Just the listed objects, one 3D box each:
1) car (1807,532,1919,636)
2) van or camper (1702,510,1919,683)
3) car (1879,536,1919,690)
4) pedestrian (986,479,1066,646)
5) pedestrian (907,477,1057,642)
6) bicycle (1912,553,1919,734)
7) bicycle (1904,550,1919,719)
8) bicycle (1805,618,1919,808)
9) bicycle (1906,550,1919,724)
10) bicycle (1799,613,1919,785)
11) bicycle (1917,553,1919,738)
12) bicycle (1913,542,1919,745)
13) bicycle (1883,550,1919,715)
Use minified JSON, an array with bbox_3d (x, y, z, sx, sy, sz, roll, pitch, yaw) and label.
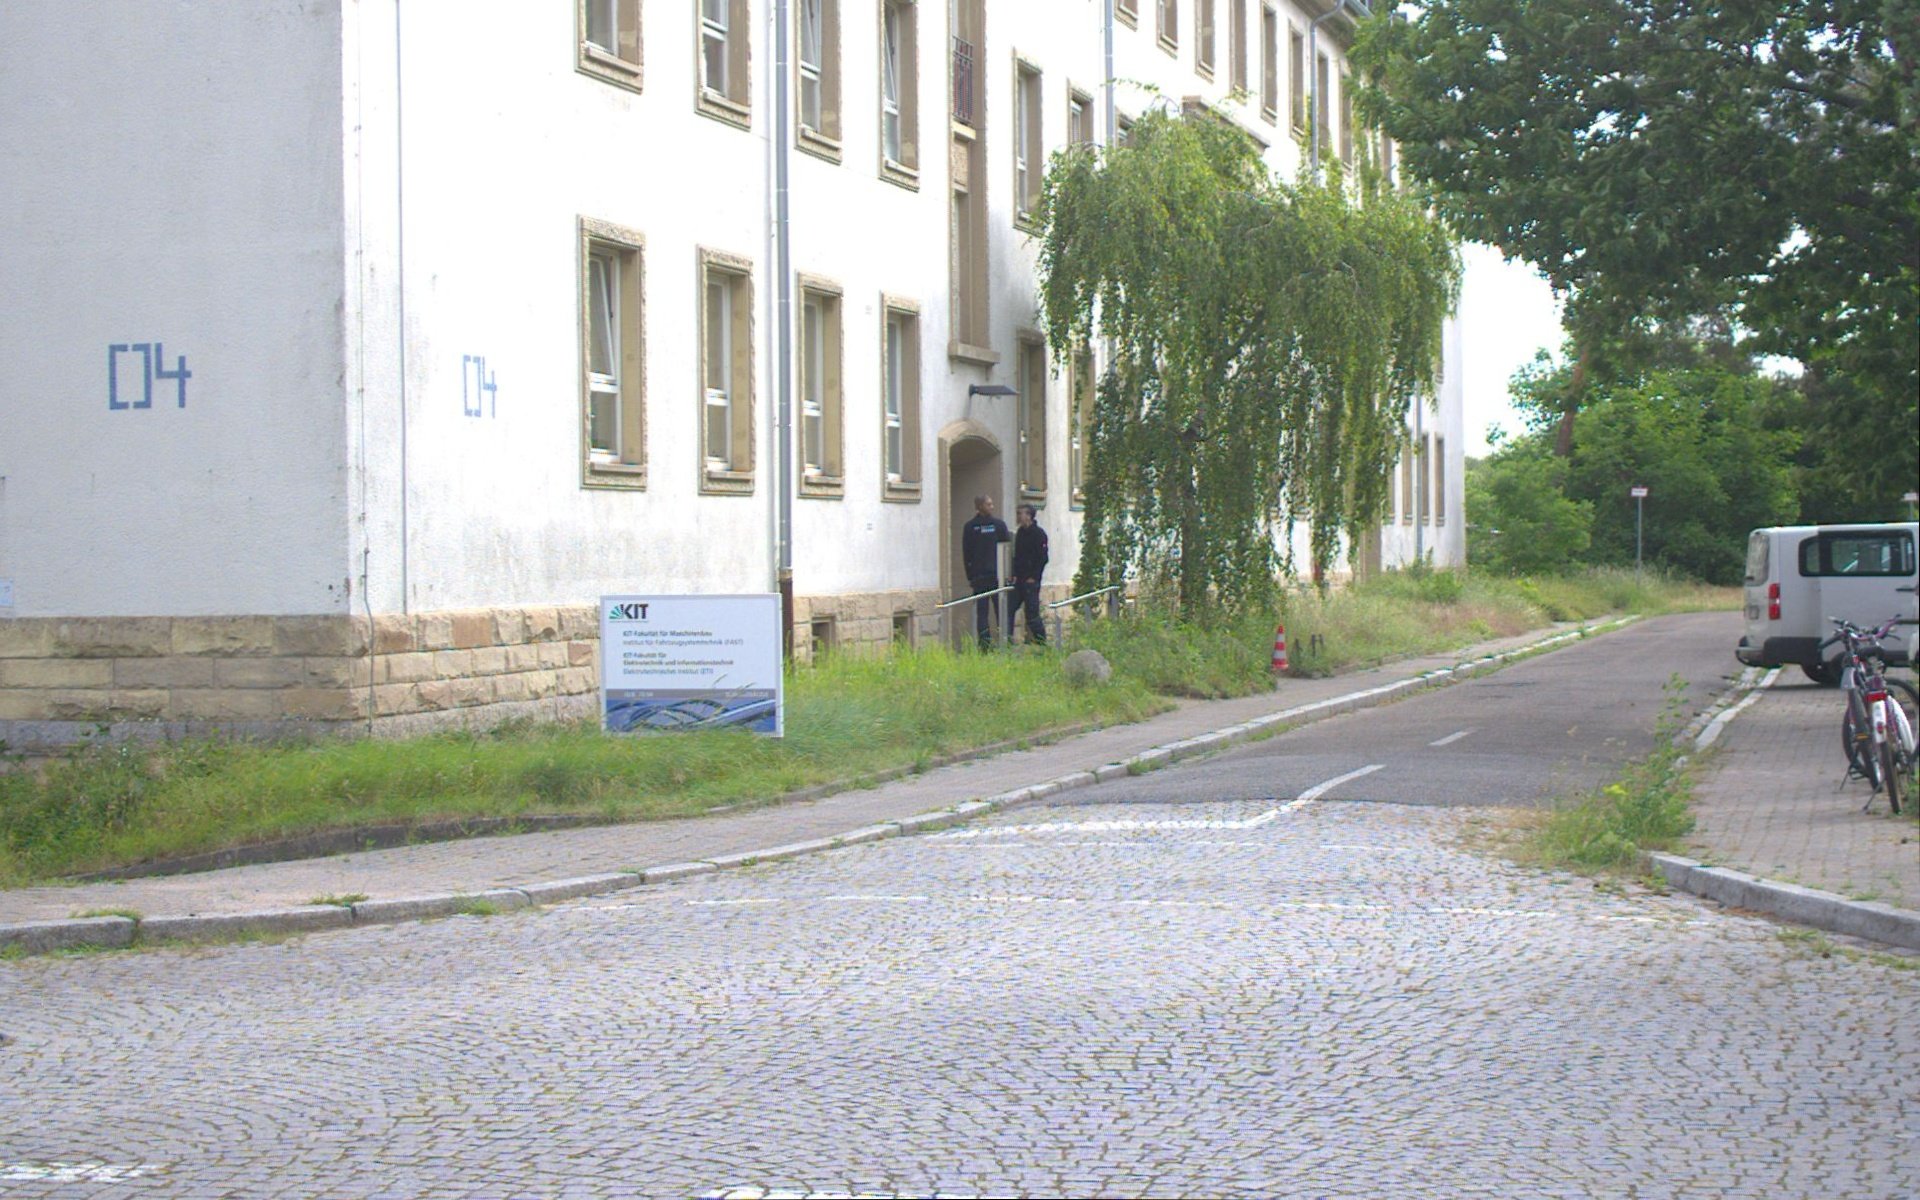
[{"bbox_3d":[15.262,-0.262,53.527,3.989,1.594,1.702,0,1,13],"label":"car"},{"bbox_3d":[11.741,-0.064,40.103,5.742,1.950,2.237,0,1,3],"label":"van or camper"},{"bbox_3d":[11.508,0.150,36.711,3.227,1.615,1.936,1,1,14],"label":"car"},{"bbox_3d":[0.784,-0.447,40.742,0.865,1.925,0.837,2,1,4],"label":"pedestrian"},{"bbox_3d":[0.265,-0.471,39.808,1.545,1.863,1.198,1,1,9],"label":"pedestrian"},{"bbox_3d":[8.721,0.320,26.200,2.804,1.367,0.950,0,1,15],"label":"bicycle"},{"bbox_3d":[9.028,0.272,27.984,2.569,1.367,0.950,0,1,14],"label":"bicycle"},{"bbox_3d":[5.309,0.618,19.664,0.901,0.993,1.977,0,1,14],"label":"bicycle"},{"bbox_3d":[8.826,0.280,27.169,2.569,1.367,0.950,0,1,14],"label":"bicycle"},{"bbox_3d":[5.773,0.599,21.705,0.728,0.993,1.977,0,1,20],"label":"bicycle"},{"bbox_3d":[8.520,0.329,25.329,2.804,1.367,0.950,0,1,15],"label":"bicycle"},{"bbox_3d":[7.778,0.282,23.113,2.621,1.362,0.874,0,1,15],"label":"bicycle"},{"bbox_3d":[9.085,0.261,28.838,2.569,1.367,0.950,0,1,14],"label":"bicycle"}]
